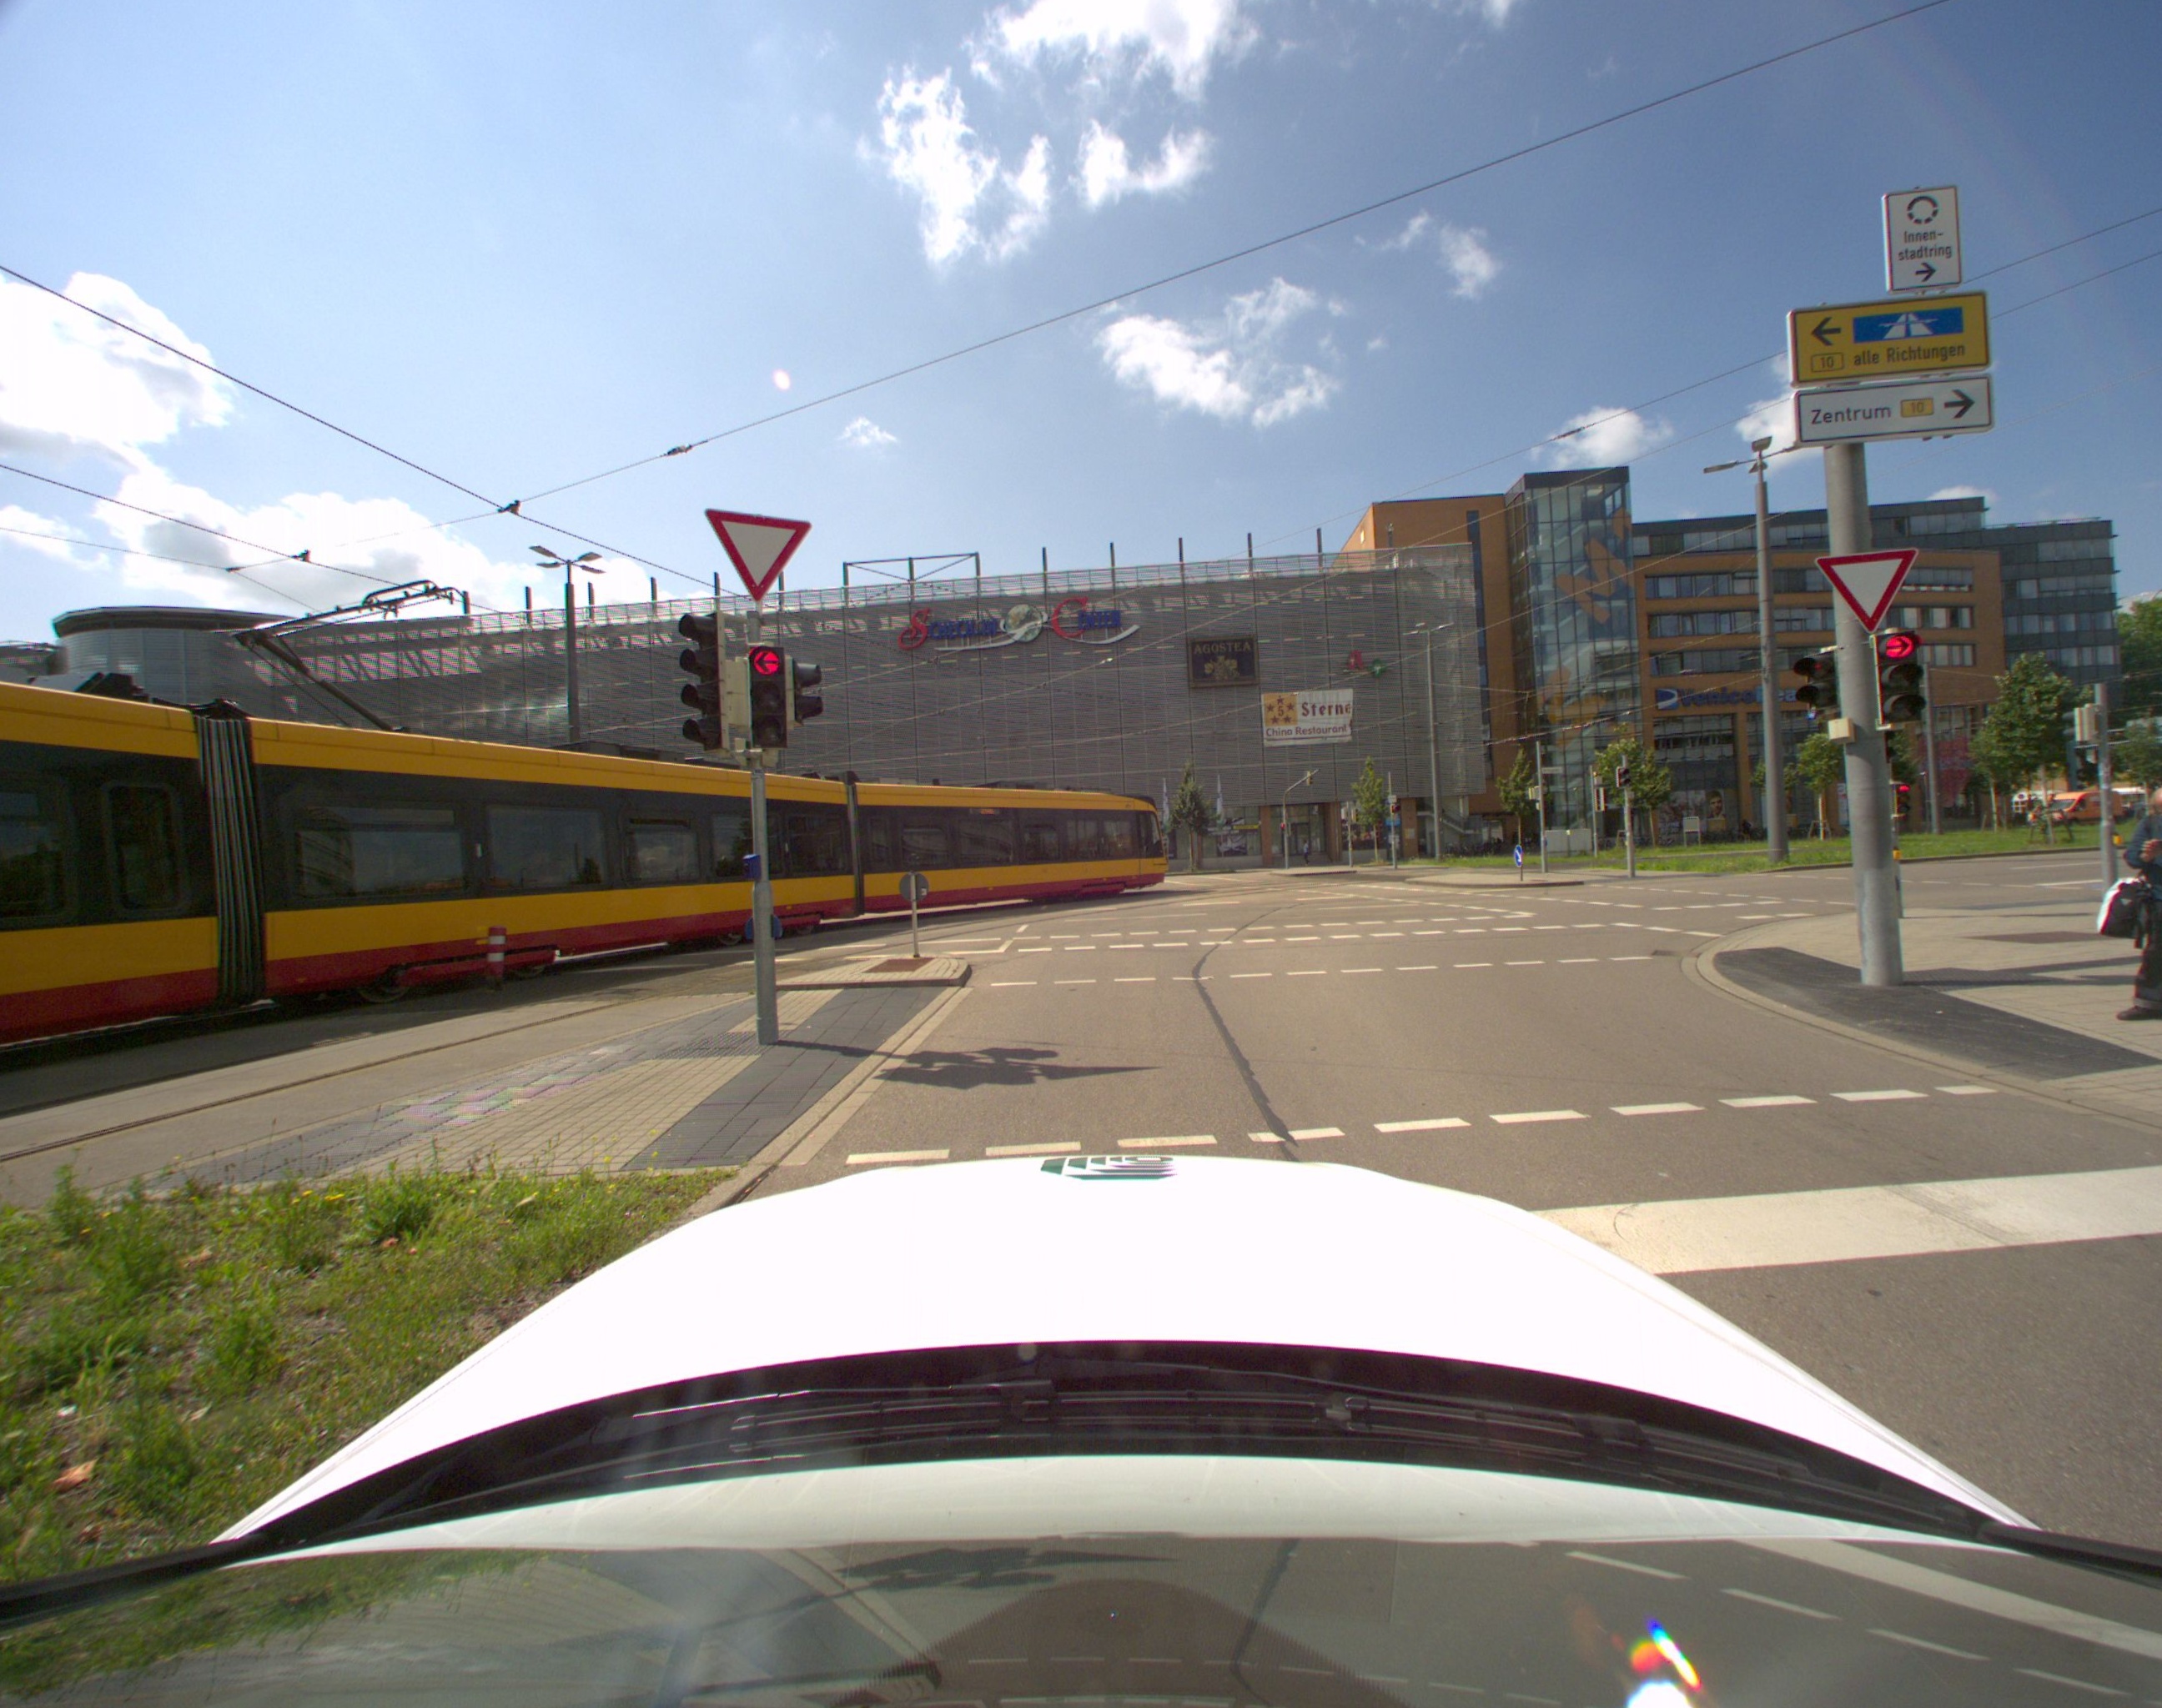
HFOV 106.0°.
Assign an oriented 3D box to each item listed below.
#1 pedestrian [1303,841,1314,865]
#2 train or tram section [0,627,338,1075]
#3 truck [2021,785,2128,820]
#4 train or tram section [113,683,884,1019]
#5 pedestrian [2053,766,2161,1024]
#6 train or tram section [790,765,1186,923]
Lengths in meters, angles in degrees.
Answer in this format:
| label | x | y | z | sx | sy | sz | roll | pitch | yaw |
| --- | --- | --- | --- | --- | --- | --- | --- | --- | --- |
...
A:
| label | x | y | z | sx | sy | sz | roll | pitch | yaw |
| --- | --- | --- | --- | --- | --- | --- | --- | --- | --- |
| pedestrian | 16.469 | -0.081 | 58.983 | 0.615 | 1.746 | 0.630 | -2 | 0 | 3 |
| train or tram section | -10.561 | 0.061 | 2.539 | 3.202 | 3.599 | 13.515 | -4 | 0 | 4 |
| truck | 64.740 | -3.328 | 53.093 | 5.506 | 2.085 | 1.993 | -2 | 0 | -11 |
| train or tram section | -8.117 | -0.058 | 14.393 | 3.029 | 3.603 | 11.051 | -4 | 0 | 21 |
| pedestrian | 7.477 | 0.252 | 5.503 | 0.810 | 1.702 | 0.911 | -3 | -1 | -25 |
| train or tram section | -1.892 | -0.422 | 24.367 | 3.026 | 3.621 | 12.715 | -4 | 0 | 42 |
